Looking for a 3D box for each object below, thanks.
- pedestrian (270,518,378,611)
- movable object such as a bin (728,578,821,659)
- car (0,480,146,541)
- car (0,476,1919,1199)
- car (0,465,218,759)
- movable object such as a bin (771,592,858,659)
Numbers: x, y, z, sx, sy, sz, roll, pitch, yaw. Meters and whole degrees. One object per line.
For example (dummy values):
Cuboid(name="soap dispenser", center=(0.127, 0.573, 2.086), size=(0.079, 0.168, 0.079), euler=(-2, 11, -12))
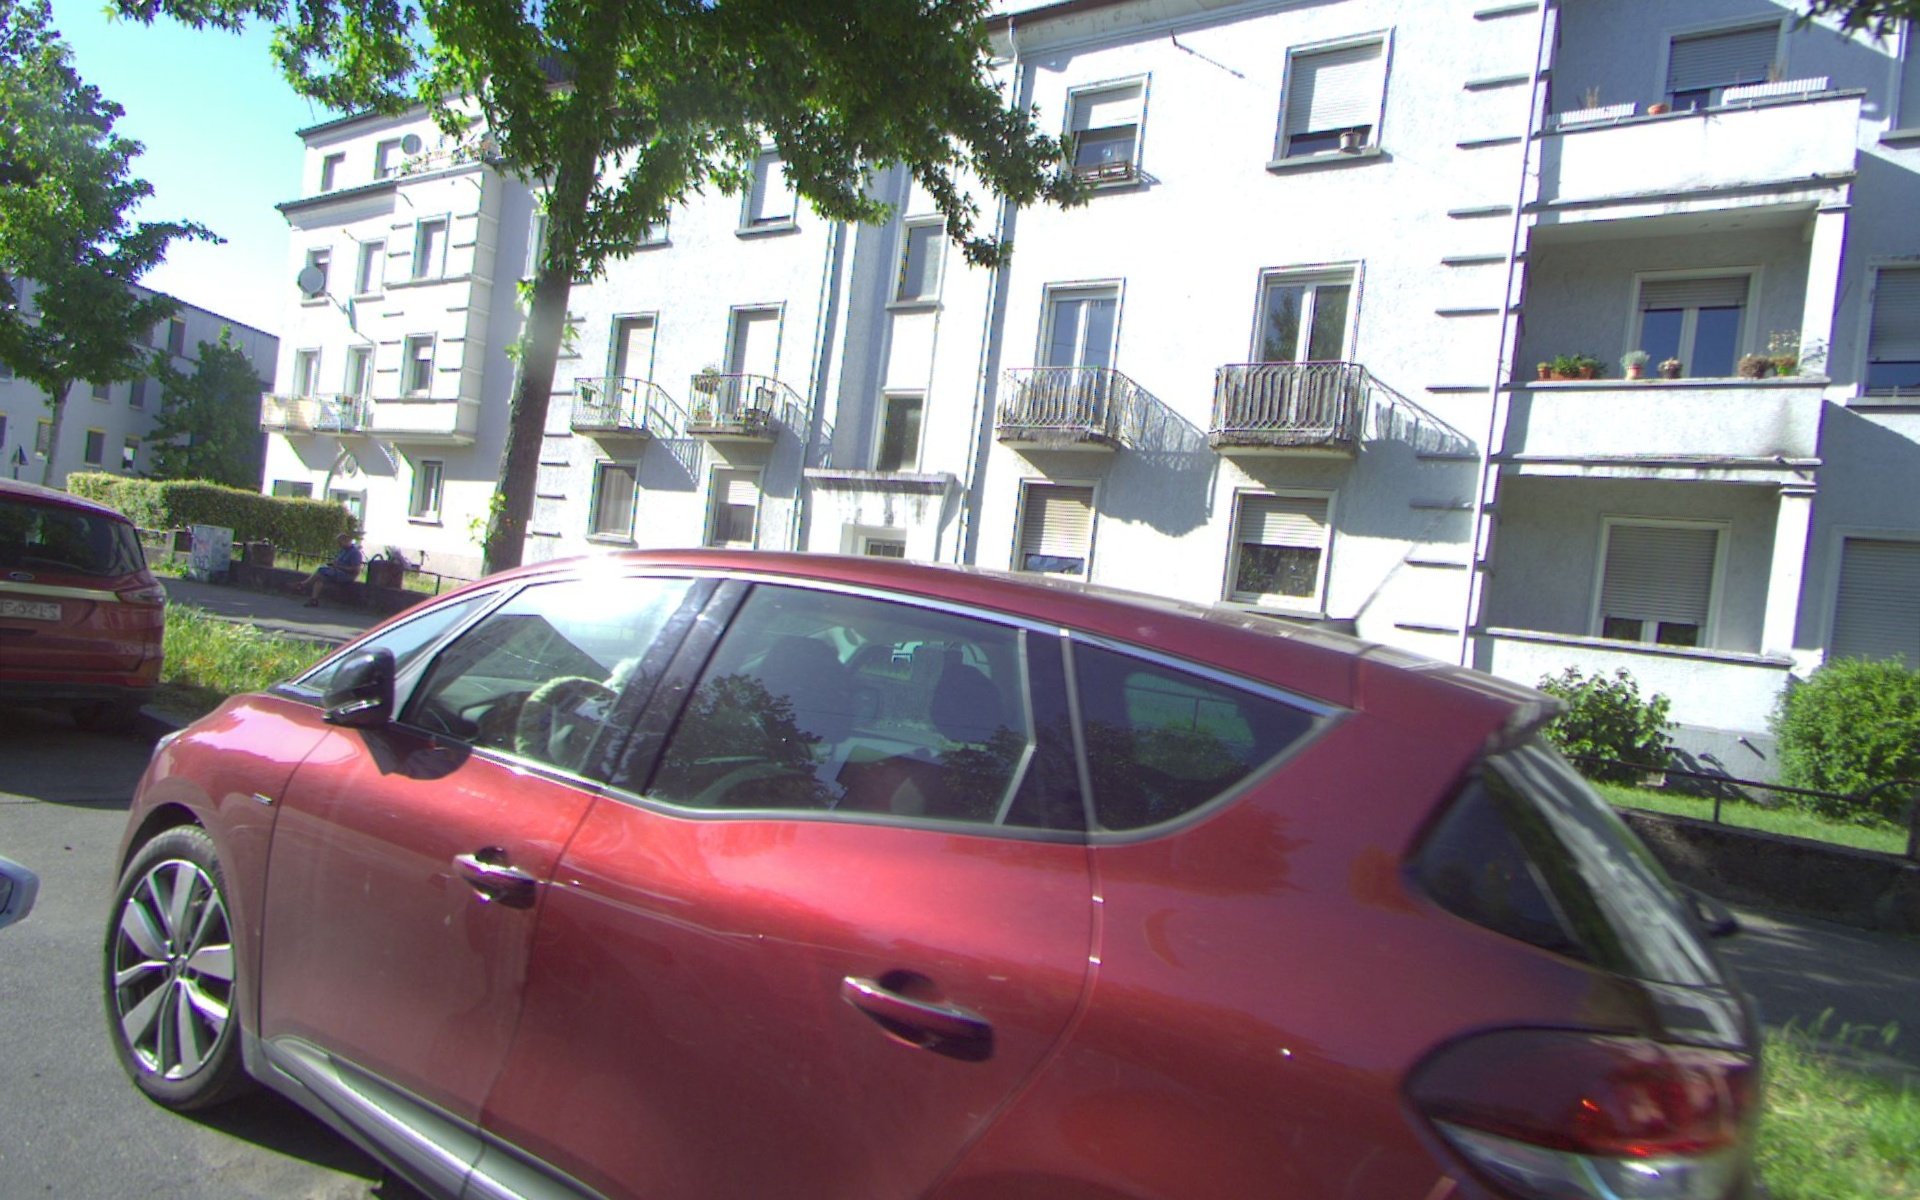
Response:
Cuboid(name="pedestrian", center=(-10.213, -0.561, 16.179), size=(0.805, 1.310, 1.084), euler=(6, -2, 30))
Cuboid(name="movable object such as a bin", center=(-2.756, 0.276, 14.964), size=(0.994, 1.038, 0.776), euler=(6, -2, 36))
Cuboid(name="car", center=(-33.246, -3.306, 37.625), size=(1.808, 1.521, 4.142), euler=(8, -2, 6))
Cuboid(name="car", center=(-0.546, 0.660, 2.727), size=(4.518, 1.588, 1.930), euler=(6, 1, 32))
Cuboid(name="car", center=(-7.360, -0.145, 6.940), size=(4.892, 1.632, 1.901), euler=(6, -1, 33))
Cuboid(name="movable object such as a bin", center=(-2.268, 0.396, 15.648), size=(0.994, 0.872, 0.776), euler=(6, -2, 37))
